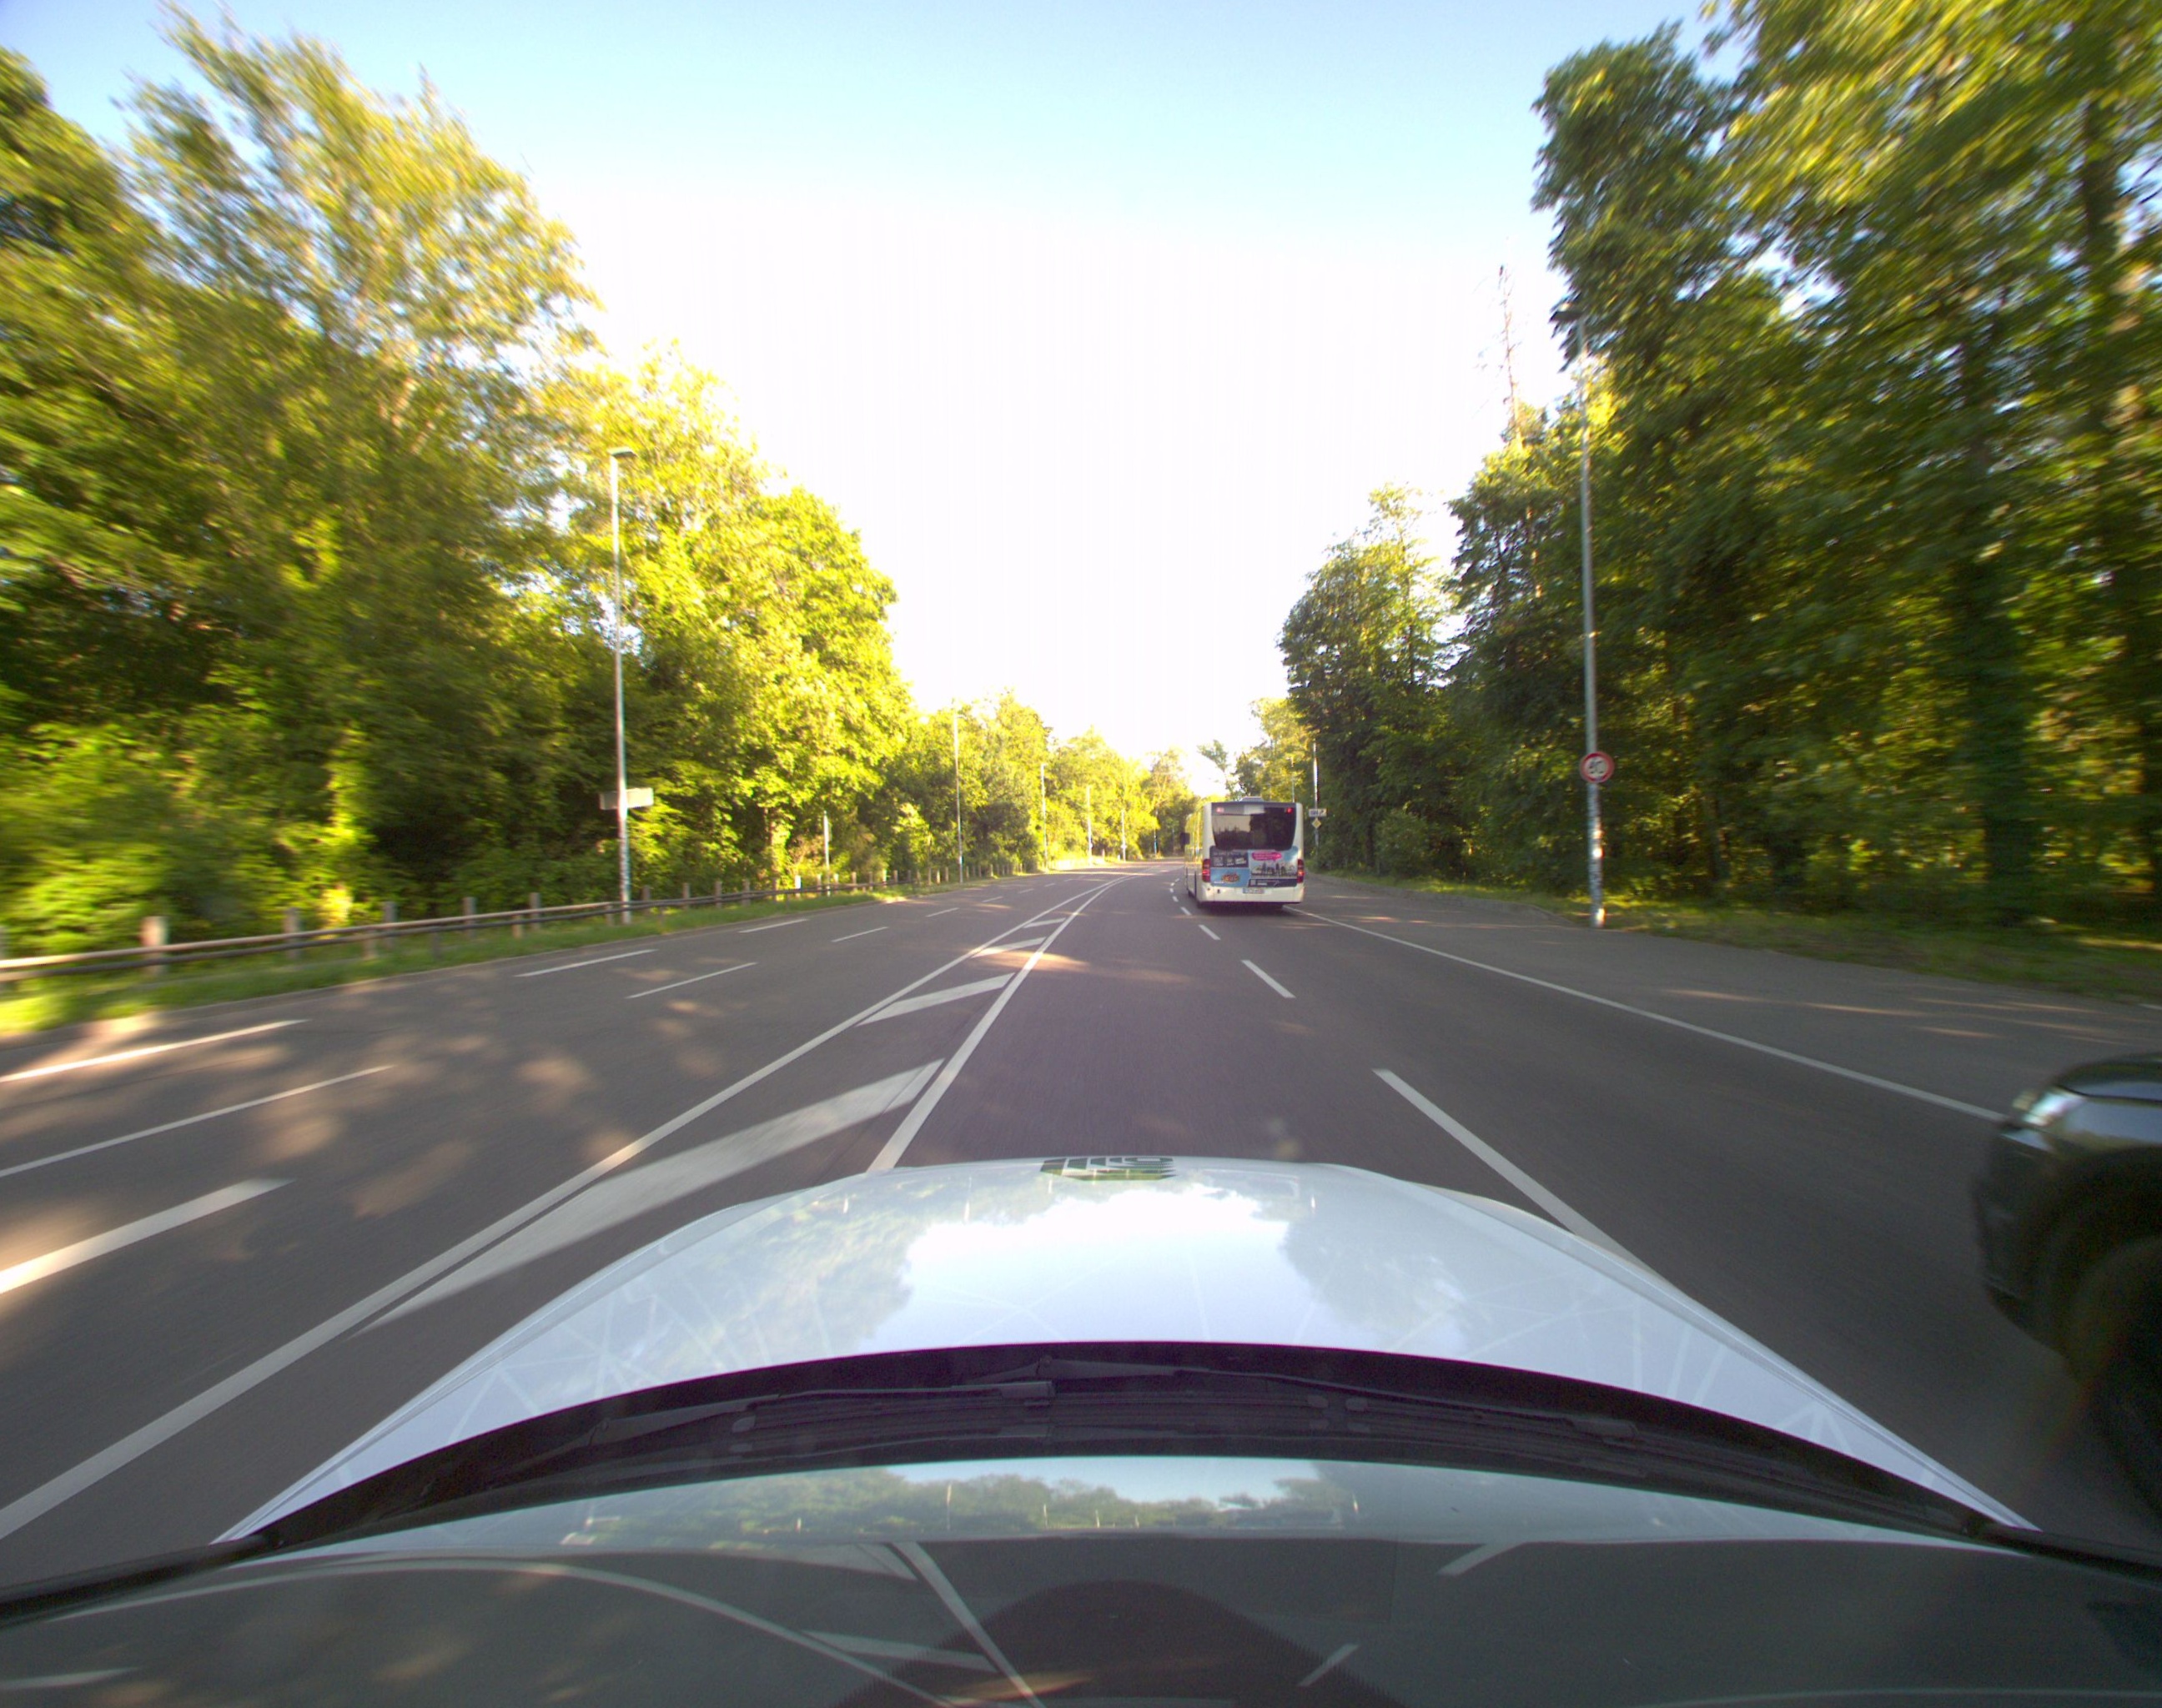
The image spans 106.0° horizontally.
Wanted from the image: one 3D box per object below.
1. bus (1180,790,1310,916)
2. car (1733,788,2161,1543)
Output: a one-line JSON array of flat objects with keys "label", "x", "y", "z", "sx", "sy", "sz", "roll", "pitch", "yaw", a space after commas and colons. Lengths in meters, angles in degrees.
[{"label": "bus", "x": 4.712, "y": 0.015, "z": 25.801, "sx": 2.677, "sy": 3.042, "sz": 12.057, "roll": -1, "pitch": 0, "yaw": 5}, {"label": "car", "x": 3.207, "y": 0.655, "z": 0.609, "sx": 1.886, "sy": 1.605, "sz": 4.545, "roll": 0, "pitch": 0, "yaw": 1}]
